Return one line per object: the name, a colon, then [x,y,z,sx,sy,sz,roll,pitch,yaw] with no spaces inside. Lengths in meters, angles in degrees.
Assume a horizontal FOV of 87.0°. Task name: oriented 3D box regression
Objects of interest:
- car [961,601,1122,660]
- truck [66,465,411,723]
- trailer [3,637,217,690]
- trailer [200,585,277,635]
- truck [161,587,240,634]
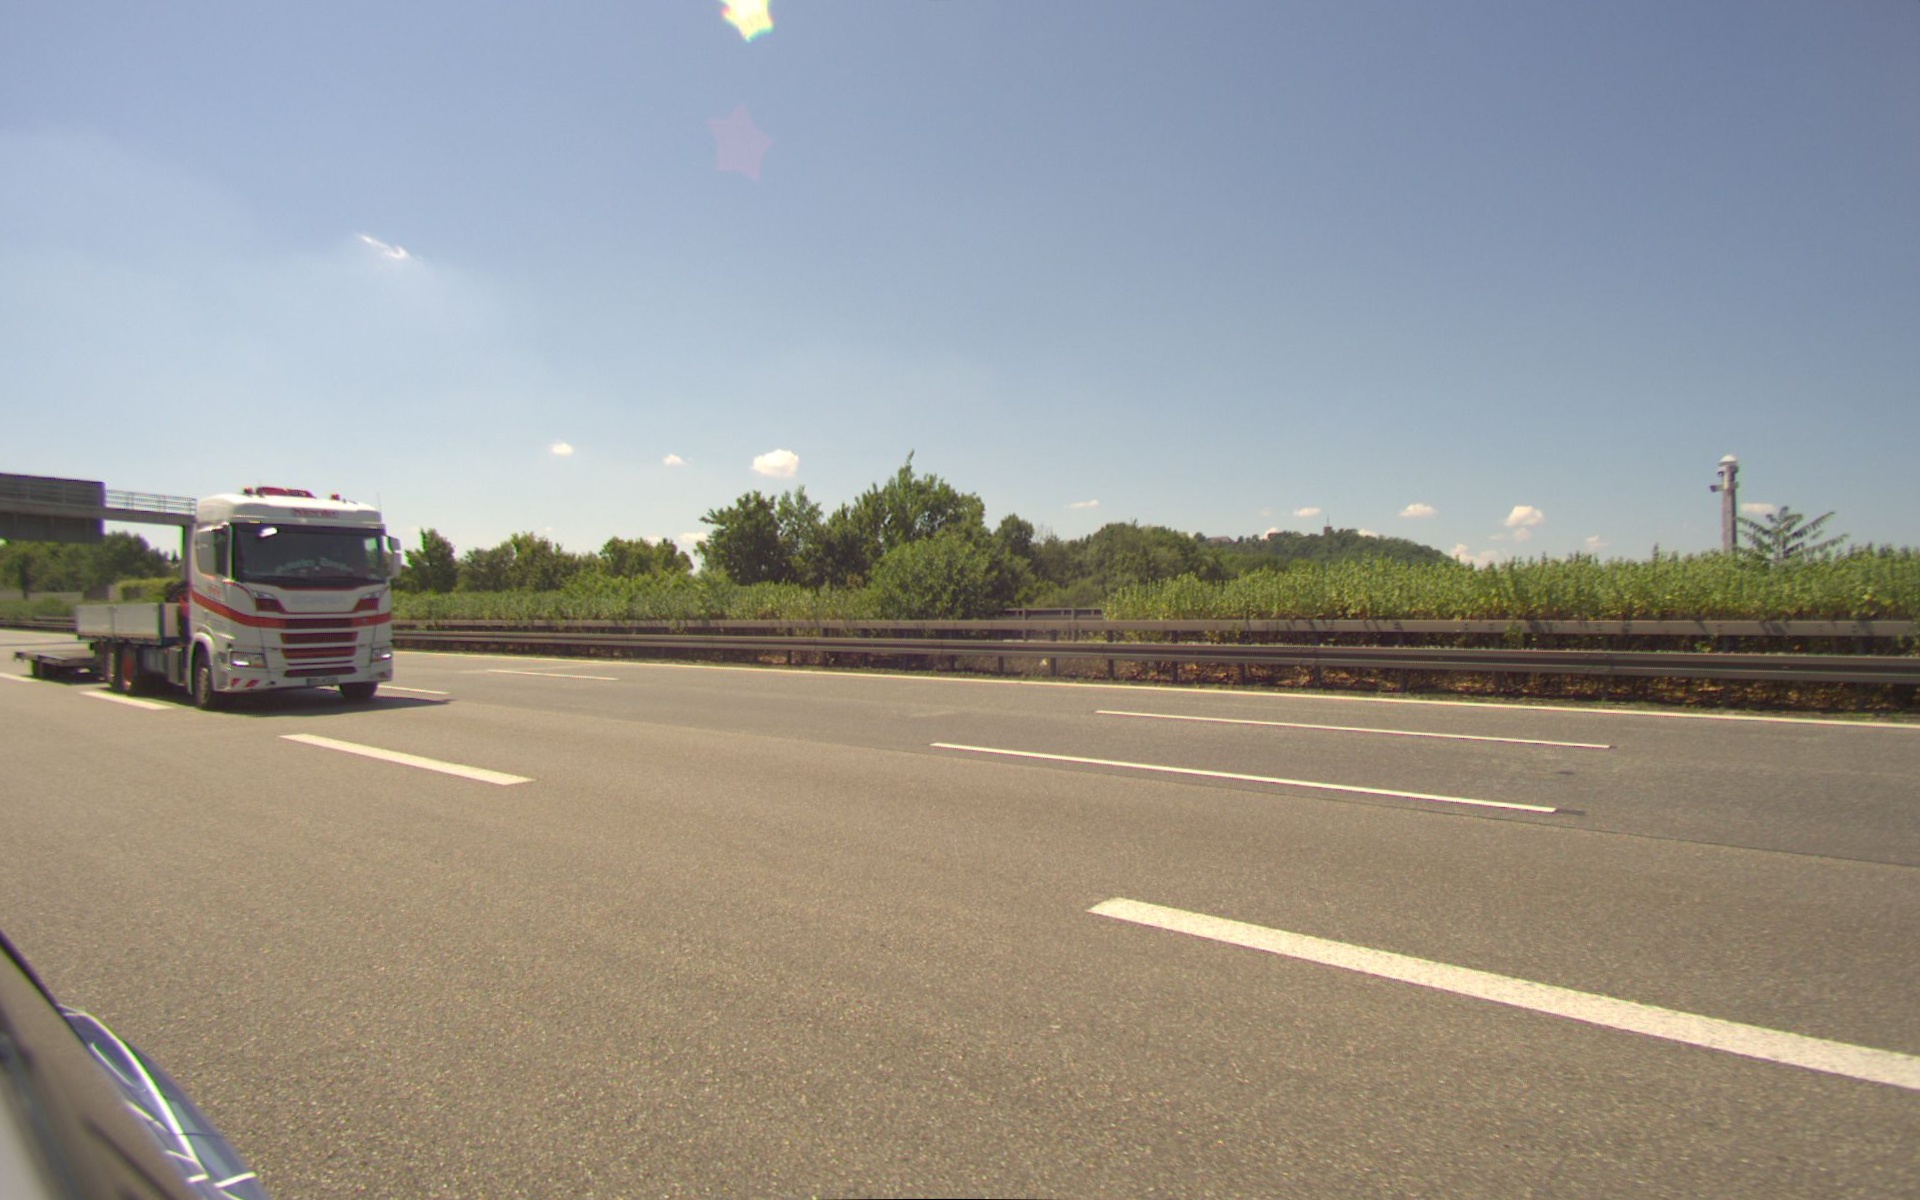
car: [2.385,0.896,30.375,4.666,1.638,1.763,-2,-1,41]
truck: [-14.237,-0.050,19.416,10.660,3.831,2.688,-1,0,39]
trailer: [-21.337,1.492,25.222,7.751,0.941,2.688,-1,0,39]
trailer: [-59.880,0.860,83.923,8.645,3.997,2.895,-1,-1,38]
truck: [-67.419,0.956,89.736,10.306,3.997,2.973,-1,-1,38]
